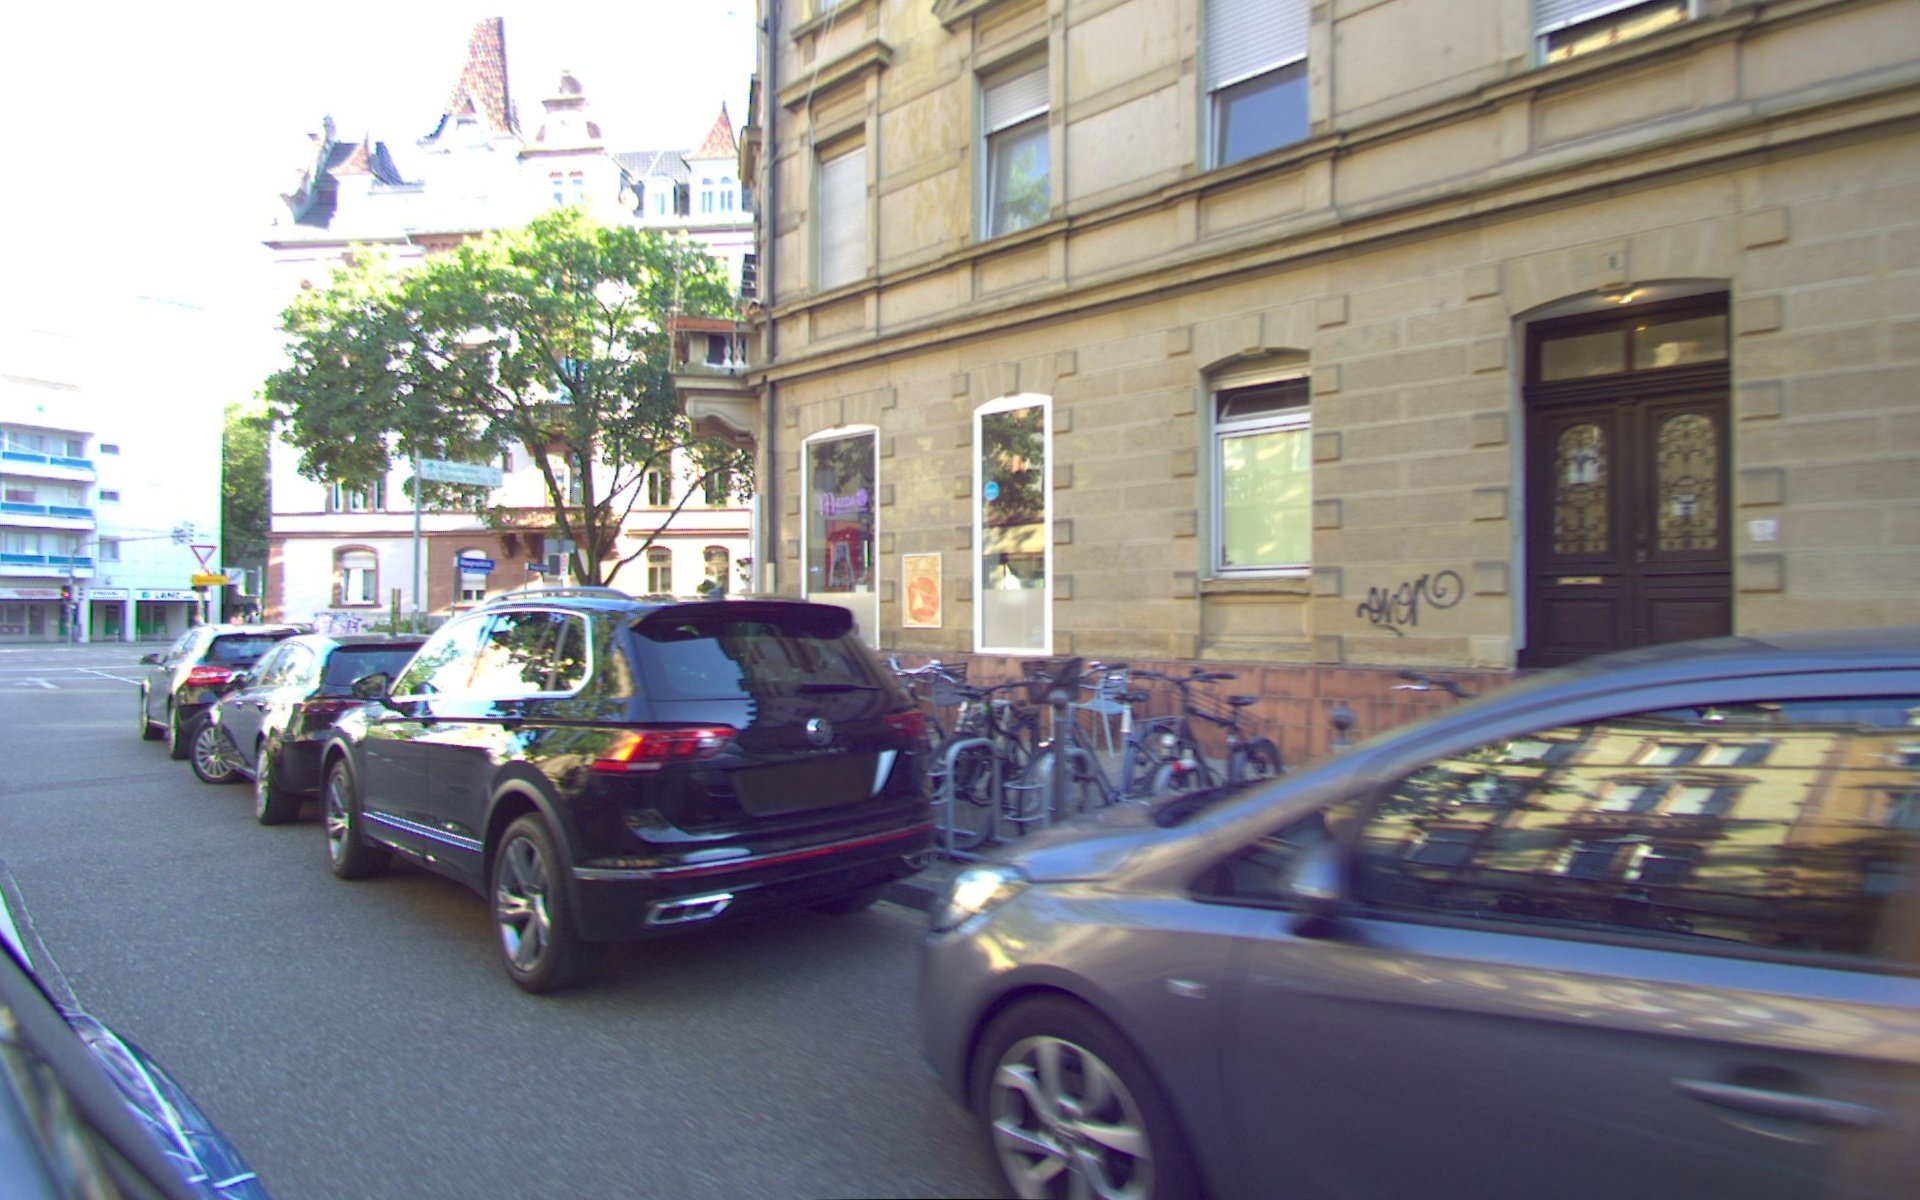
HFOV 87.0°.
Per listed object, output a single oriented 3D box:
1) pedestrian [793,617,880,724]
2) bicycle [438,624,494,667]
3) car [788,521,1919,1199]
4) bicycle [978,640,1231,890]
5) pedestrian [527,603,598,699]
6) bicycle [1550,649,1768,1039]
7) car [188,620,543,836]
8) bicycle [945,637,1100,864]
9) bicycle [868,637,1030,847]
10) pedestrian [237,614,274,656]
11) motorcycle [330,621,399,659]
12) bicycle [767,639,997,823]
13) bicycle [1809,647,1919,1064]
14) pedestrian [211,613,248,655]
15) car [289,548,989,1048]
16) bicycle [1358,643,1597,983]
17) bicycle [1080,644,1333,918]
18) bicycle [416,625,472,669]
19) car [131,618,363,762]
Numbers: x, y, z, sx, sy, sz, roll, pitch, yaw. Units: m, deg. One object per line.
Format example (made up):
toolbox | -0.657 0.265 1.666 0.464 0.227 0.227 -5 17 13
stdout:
pedestrian | -1.490 0.825 12.185 0.756 1.223 0.718 -1 -1 38
bicycle | -14.460 1.302 29.551 0.540 1.205 2.960 1 -1 -45
car | 1.585 0.683 2.103 4.060 1.512 1.739 -2 -3 43
bicycle | 0.904 0.848 5.863 0.528 1.137 1.848 -1 0 40
pedestrian | -8.234 1.034 20.981 0.840 1.913 1.106 -1 -1 31
bicycle | 2.885 0.817 4.095 0.528 1.137 1.848 -1 0 40
car | -5.541 0.924 9.124 1.738 1.463 4.554 2 -2 -44
bicycle | 0.458 0.842 6.396 0.524 1.137 1.862 -1 0 18
bicycle | -0.011 0.858 6.831 0.524 1.137 1.862 -1 0 18
pedestrian | -29.335 1.448 42.142 0.857 1.710 0.984 0 -1 -1
motorcycle | -20.802 1.380 35.395 0.835 1.275 2.100 -1 -1 15
bicycle | -0.531 0.907 7.613 0.528 1.137 1.847 -1 0 43
bicycle | 3.453 0.791 3.683 0.528 1.137 1.848 -1 0 40
pedestrian | -30.331 1.402 42.030 0.856 1.710 0.985 0 -1 -5
car | -2.086 0.715 5.523 1.738 1.612 4.552 2 -3 -45
bicycle | 2.389 0.812 4.551 0.528 1.137 1.848 -1 0 40
bicycle | 1.390 0.853 5.439 0.528 1.137 1.848 -1 0 40
bicycle | -14.866 1.315 29.128 0.540 1.205 2.960 1 -1 -45
car | -9.021 0.992 12.663 1.738 1.499 4.142 2 -2 -44
